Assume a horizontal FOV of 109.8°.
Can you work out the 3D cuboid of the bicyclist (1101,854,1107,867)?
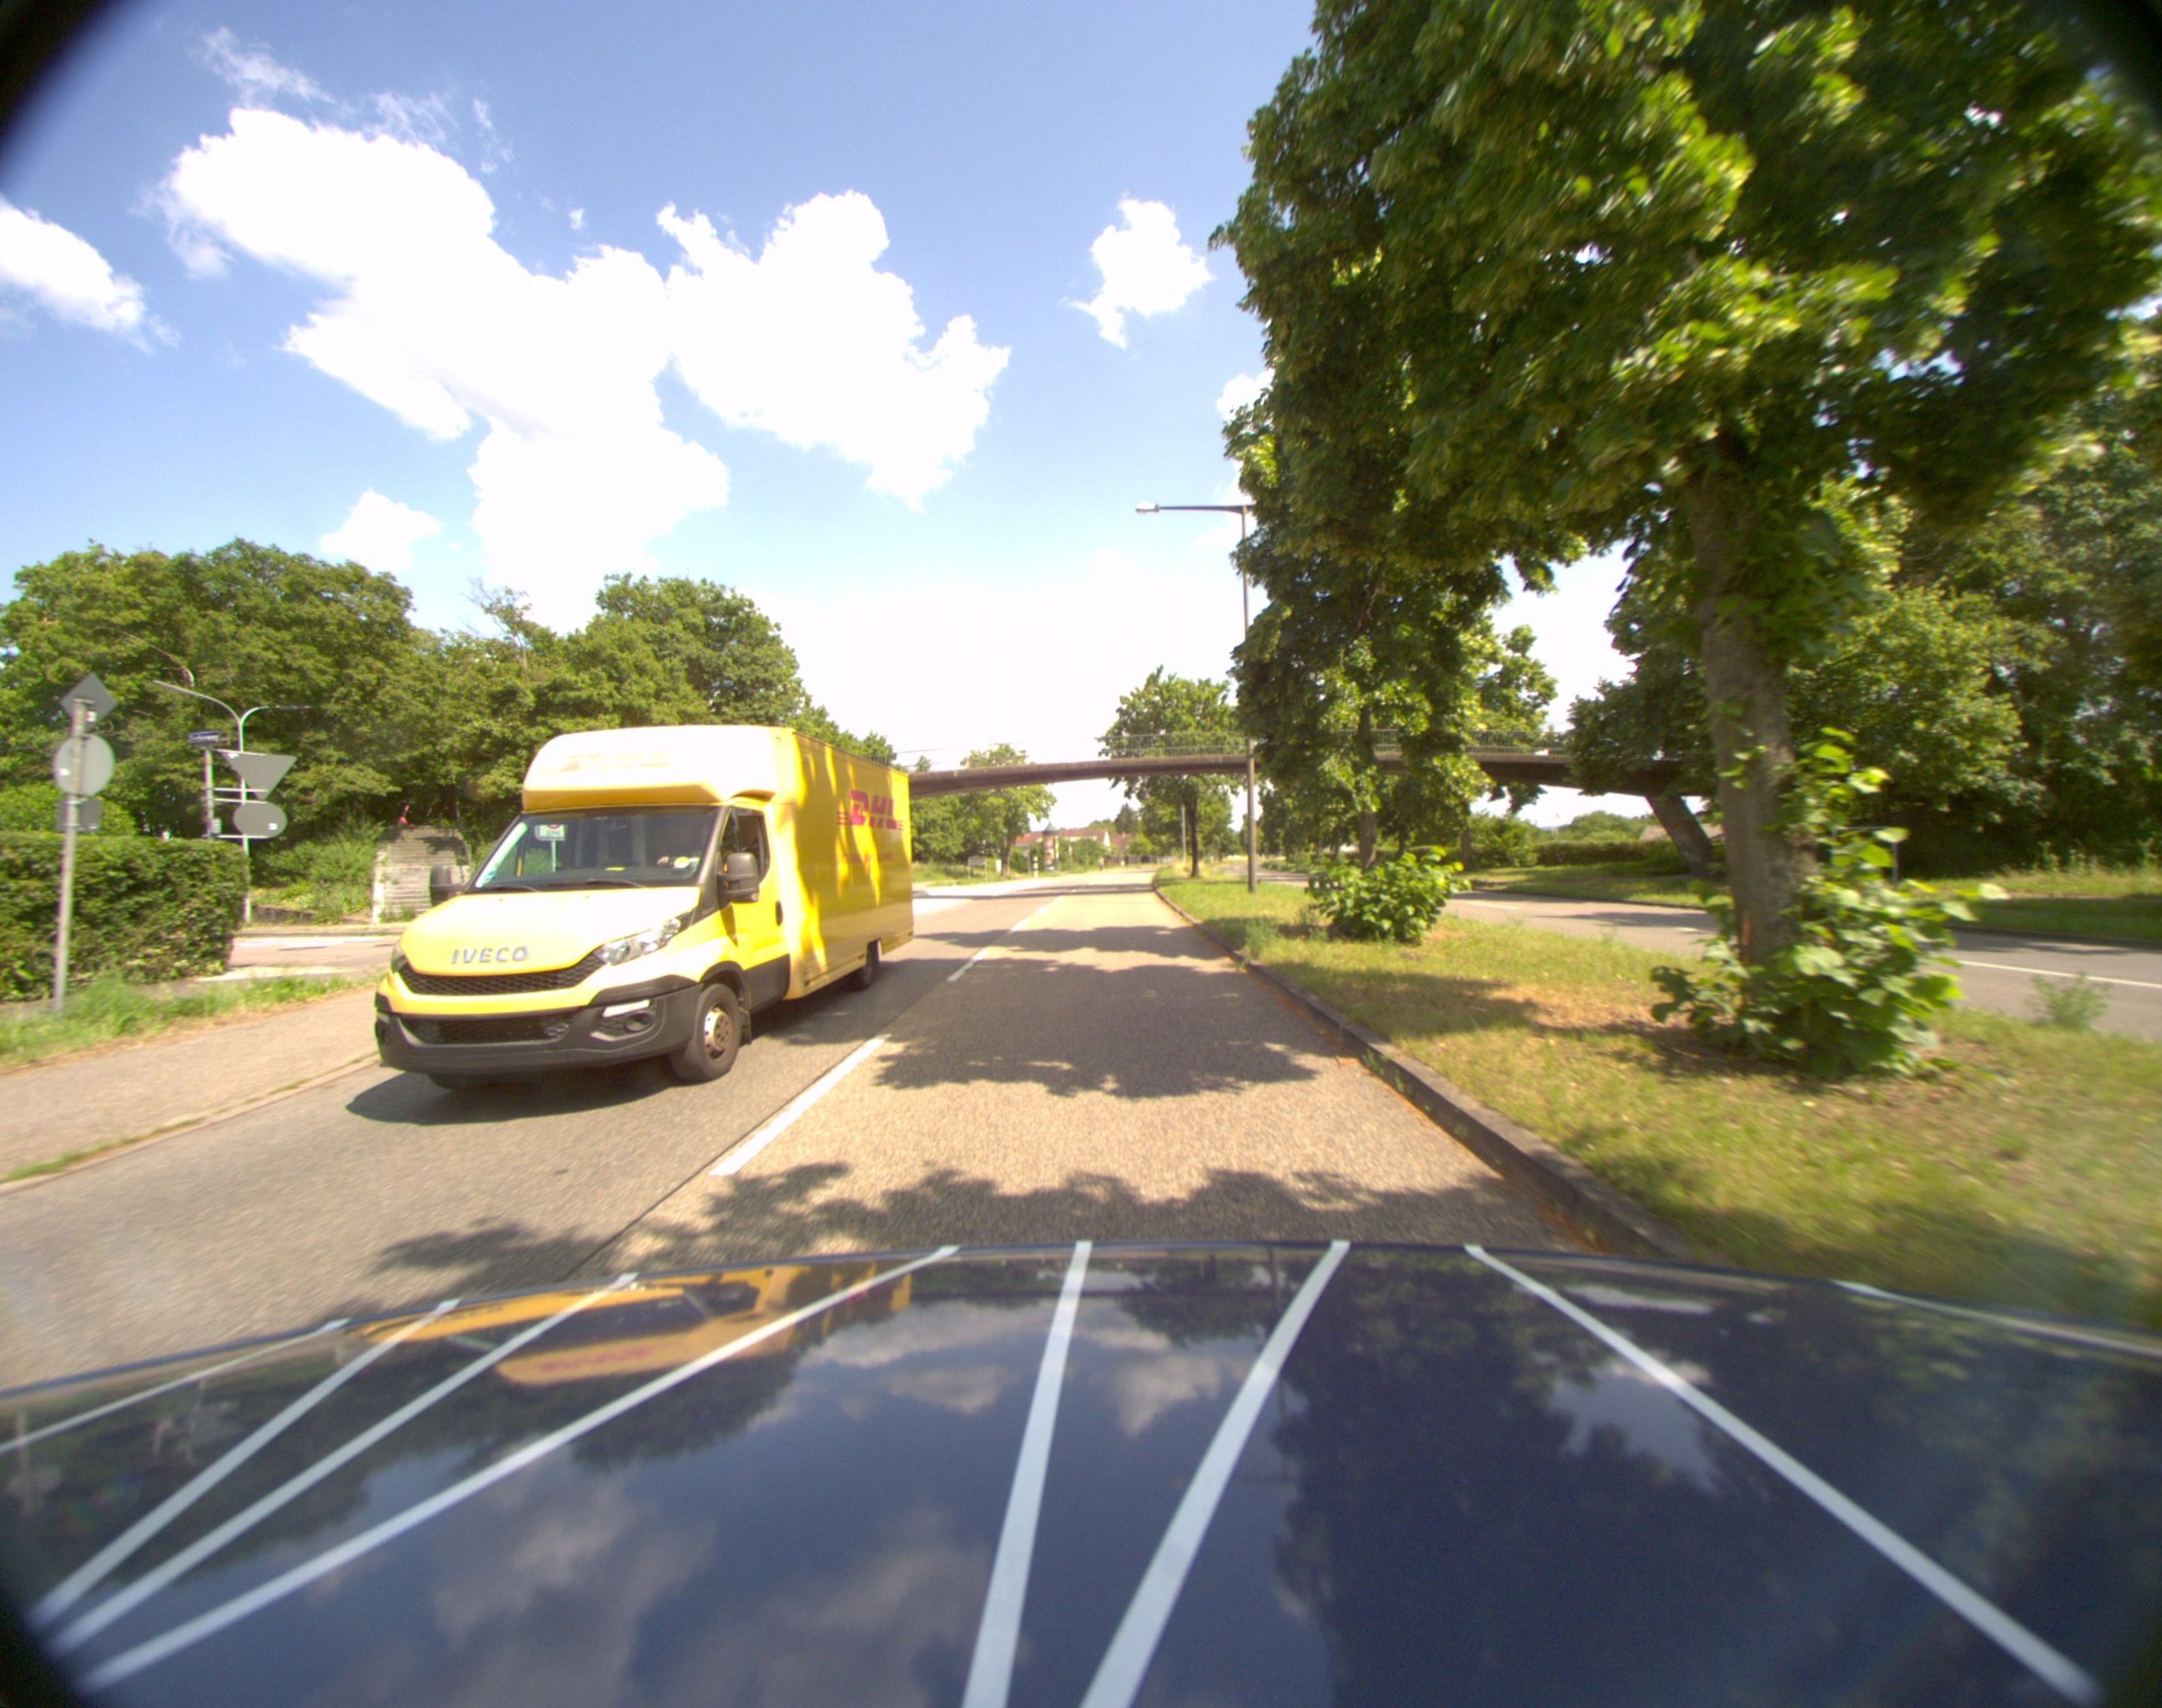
[{"bbox_3d":[2.970,0.874,99.252,0.619,1.625,0.701,-1,0,12],"label":"bicyclist"}]

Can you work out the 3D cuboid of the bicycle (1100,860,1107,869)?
[{"bbox_3d":[2.975,1.310,99.227,0.626,1.145,1.740,-1,0,12],"label":"bicycle"}]

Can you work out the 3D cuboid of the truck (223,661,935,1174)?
[{"bbox_3d":[-3.672,0.367,8.406,2.270,2.864,8.028,-3,0,1],"label":"truck"}]
